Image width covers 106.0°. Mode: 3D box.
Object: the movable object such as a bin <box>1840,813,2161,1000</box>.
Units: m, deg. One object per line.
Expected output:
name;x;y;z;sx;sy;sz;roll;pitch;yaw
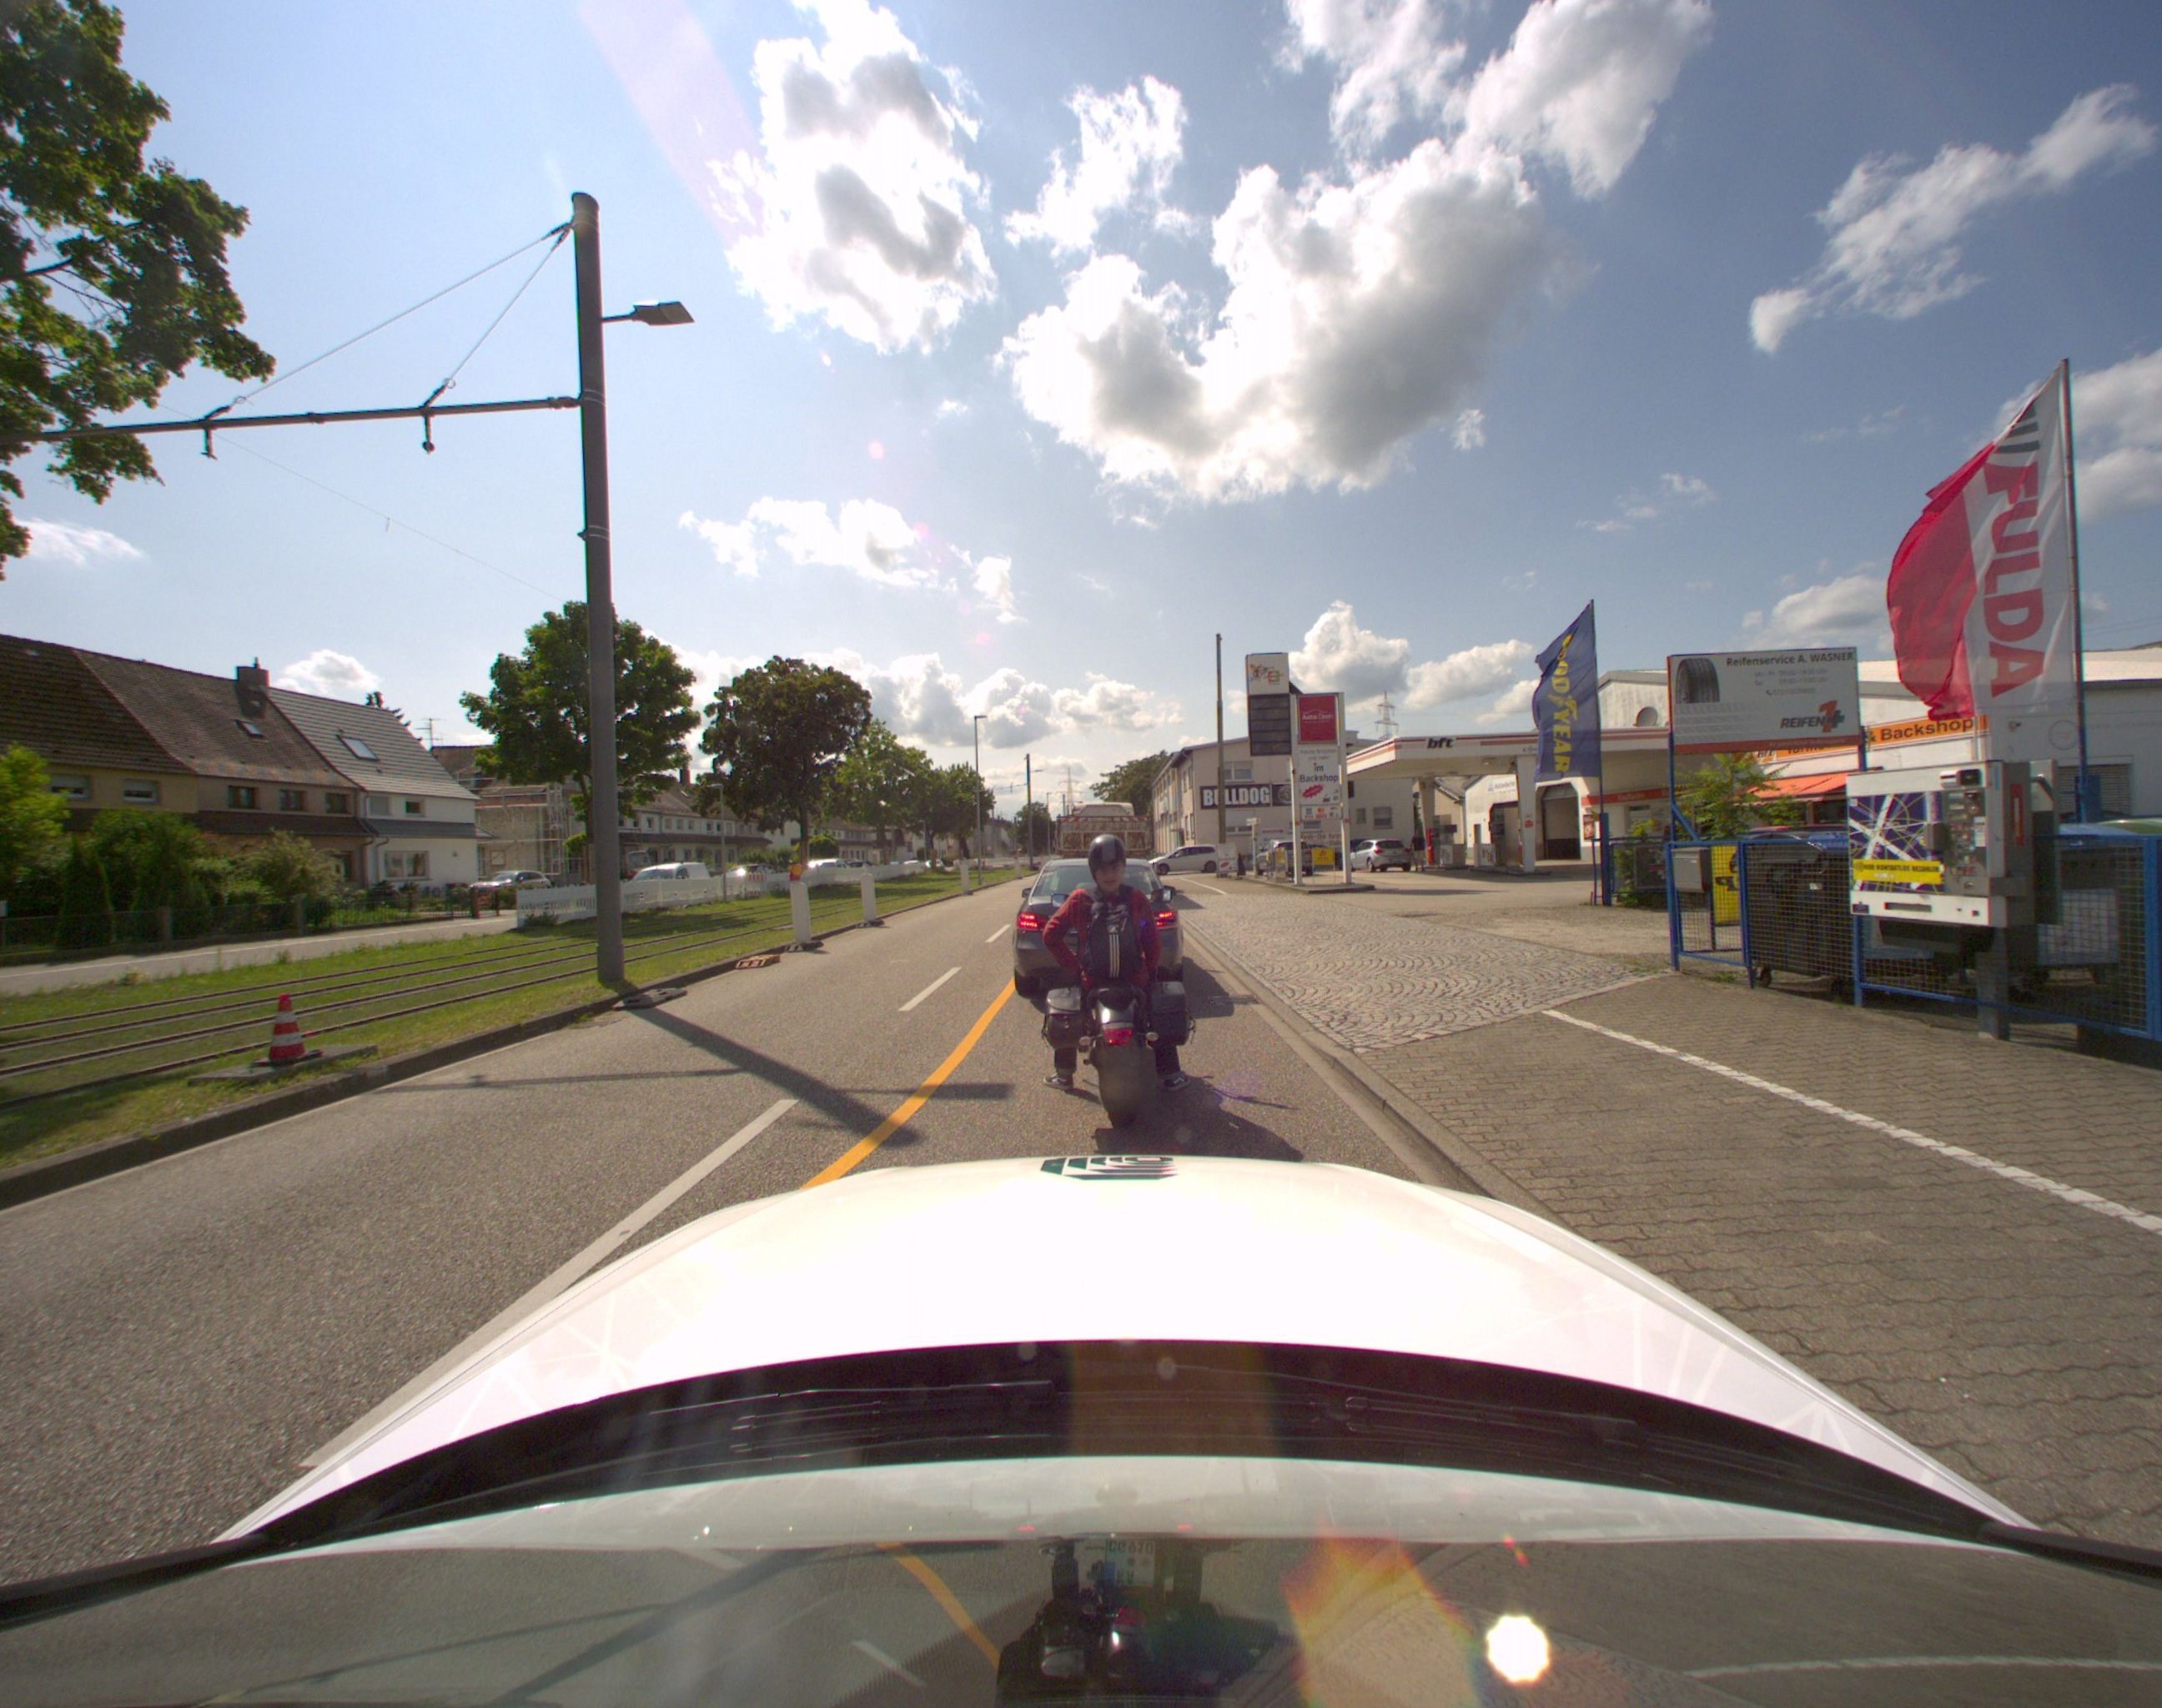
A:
movable object such as a bin;8.102;0.417;7.284;1.222;1.454;1.455;-2;0;0

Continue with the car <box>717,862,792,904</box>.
car;-15.328;1.328;38.490;1.692;1.739;4.056;-2;0;2

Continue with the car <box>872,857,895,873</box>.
car;-24.051;1.341;99.345;1.692;1.739;4.064;-2;0;2

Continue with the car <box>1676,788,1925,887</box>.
car;16.599;-0.370;18.965;3.972;2.013;2.001;-2;0;1

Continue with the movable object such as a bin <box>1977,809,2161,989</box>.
movable object such as a bin;9.447;0.336;7.194;1.425;1.454;1.455;-2;0;0

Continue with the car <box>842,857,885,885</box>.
car;-14.870;1.144;55.762;1.692;1.739;3.862;-2;0;2

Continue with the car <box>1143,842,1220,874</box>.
car;5.763;0.230;47.053;4.101;1.624;1.682;-3;0;-7

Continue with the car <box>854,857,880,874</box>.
car;-24.467;1.307;93.142;1.692;1.739;4.064;-2;0;2

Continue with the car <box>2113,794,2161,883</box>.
car;26.350;-0.433;18.189;3.972;2.013;2.001;-2;0;1

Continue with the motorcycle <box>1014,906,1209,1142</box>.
motorcycle;0.193;0.933;5.317;0.972;1.013;2.433;-1;0;2

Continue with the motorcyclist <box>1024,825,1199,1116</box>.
motorcyclist;0.192;0.655;5.199;0.966;1.633;1.215;-1;0;1

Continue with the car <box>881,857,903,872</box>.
car;-24.380;1.350;105.369;1.692;1.739;4.064;-2;0;2

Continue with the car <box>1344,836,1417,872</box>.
car;13.536;-0.021;37.073;1.826;1.479;4.009;-3;0;1

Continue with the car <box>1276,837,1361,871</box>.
car;12.683;0.004;43.643;4.087;1.624;1.688;-2;0;3

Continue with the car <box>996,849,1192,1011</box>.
car;0.156;0.722;9.867;1.826;1.479;4.009;-3;0;1

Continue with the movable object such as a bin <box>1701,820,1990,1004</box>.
movable object such as a bin;6.822;0.471;7.408;1.222;1.454;1.455;-2;0;0

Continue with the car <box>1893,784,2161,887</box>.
car;21.247;-0.400;18.273;3.972;2.013;2.001;-2;0;1

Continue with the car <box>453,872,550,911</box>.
car;-27.481;1.735;38.797;1.692;1.593;3.862;-2;0;2

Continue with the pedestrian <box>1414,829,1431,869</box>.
pedestrian;14.839;-0.208;35.392;0.628;1.683;0.626;-2;0;23

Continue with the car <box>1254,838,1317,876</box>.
car;9.092;0.123;36.580;1.826;1.536;4.009;-3;0;1

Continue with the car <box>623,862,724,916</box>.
car;-15.420;1.281;31.060;1.692;1.817;3.862;-2;0;2

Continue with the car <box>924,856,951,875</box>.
car;-14.114;1.153;80.261;1.692;1.739;3.862;-2;0;2

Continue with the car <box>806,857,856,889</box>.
car;-15.104;1.116;49.395;1.692;1.739;3.862;-2;0;2

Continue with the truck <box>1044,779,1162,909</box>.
truck;0.640;-0.280;25.608;2.960;3.304;8.407;-2;0;1
